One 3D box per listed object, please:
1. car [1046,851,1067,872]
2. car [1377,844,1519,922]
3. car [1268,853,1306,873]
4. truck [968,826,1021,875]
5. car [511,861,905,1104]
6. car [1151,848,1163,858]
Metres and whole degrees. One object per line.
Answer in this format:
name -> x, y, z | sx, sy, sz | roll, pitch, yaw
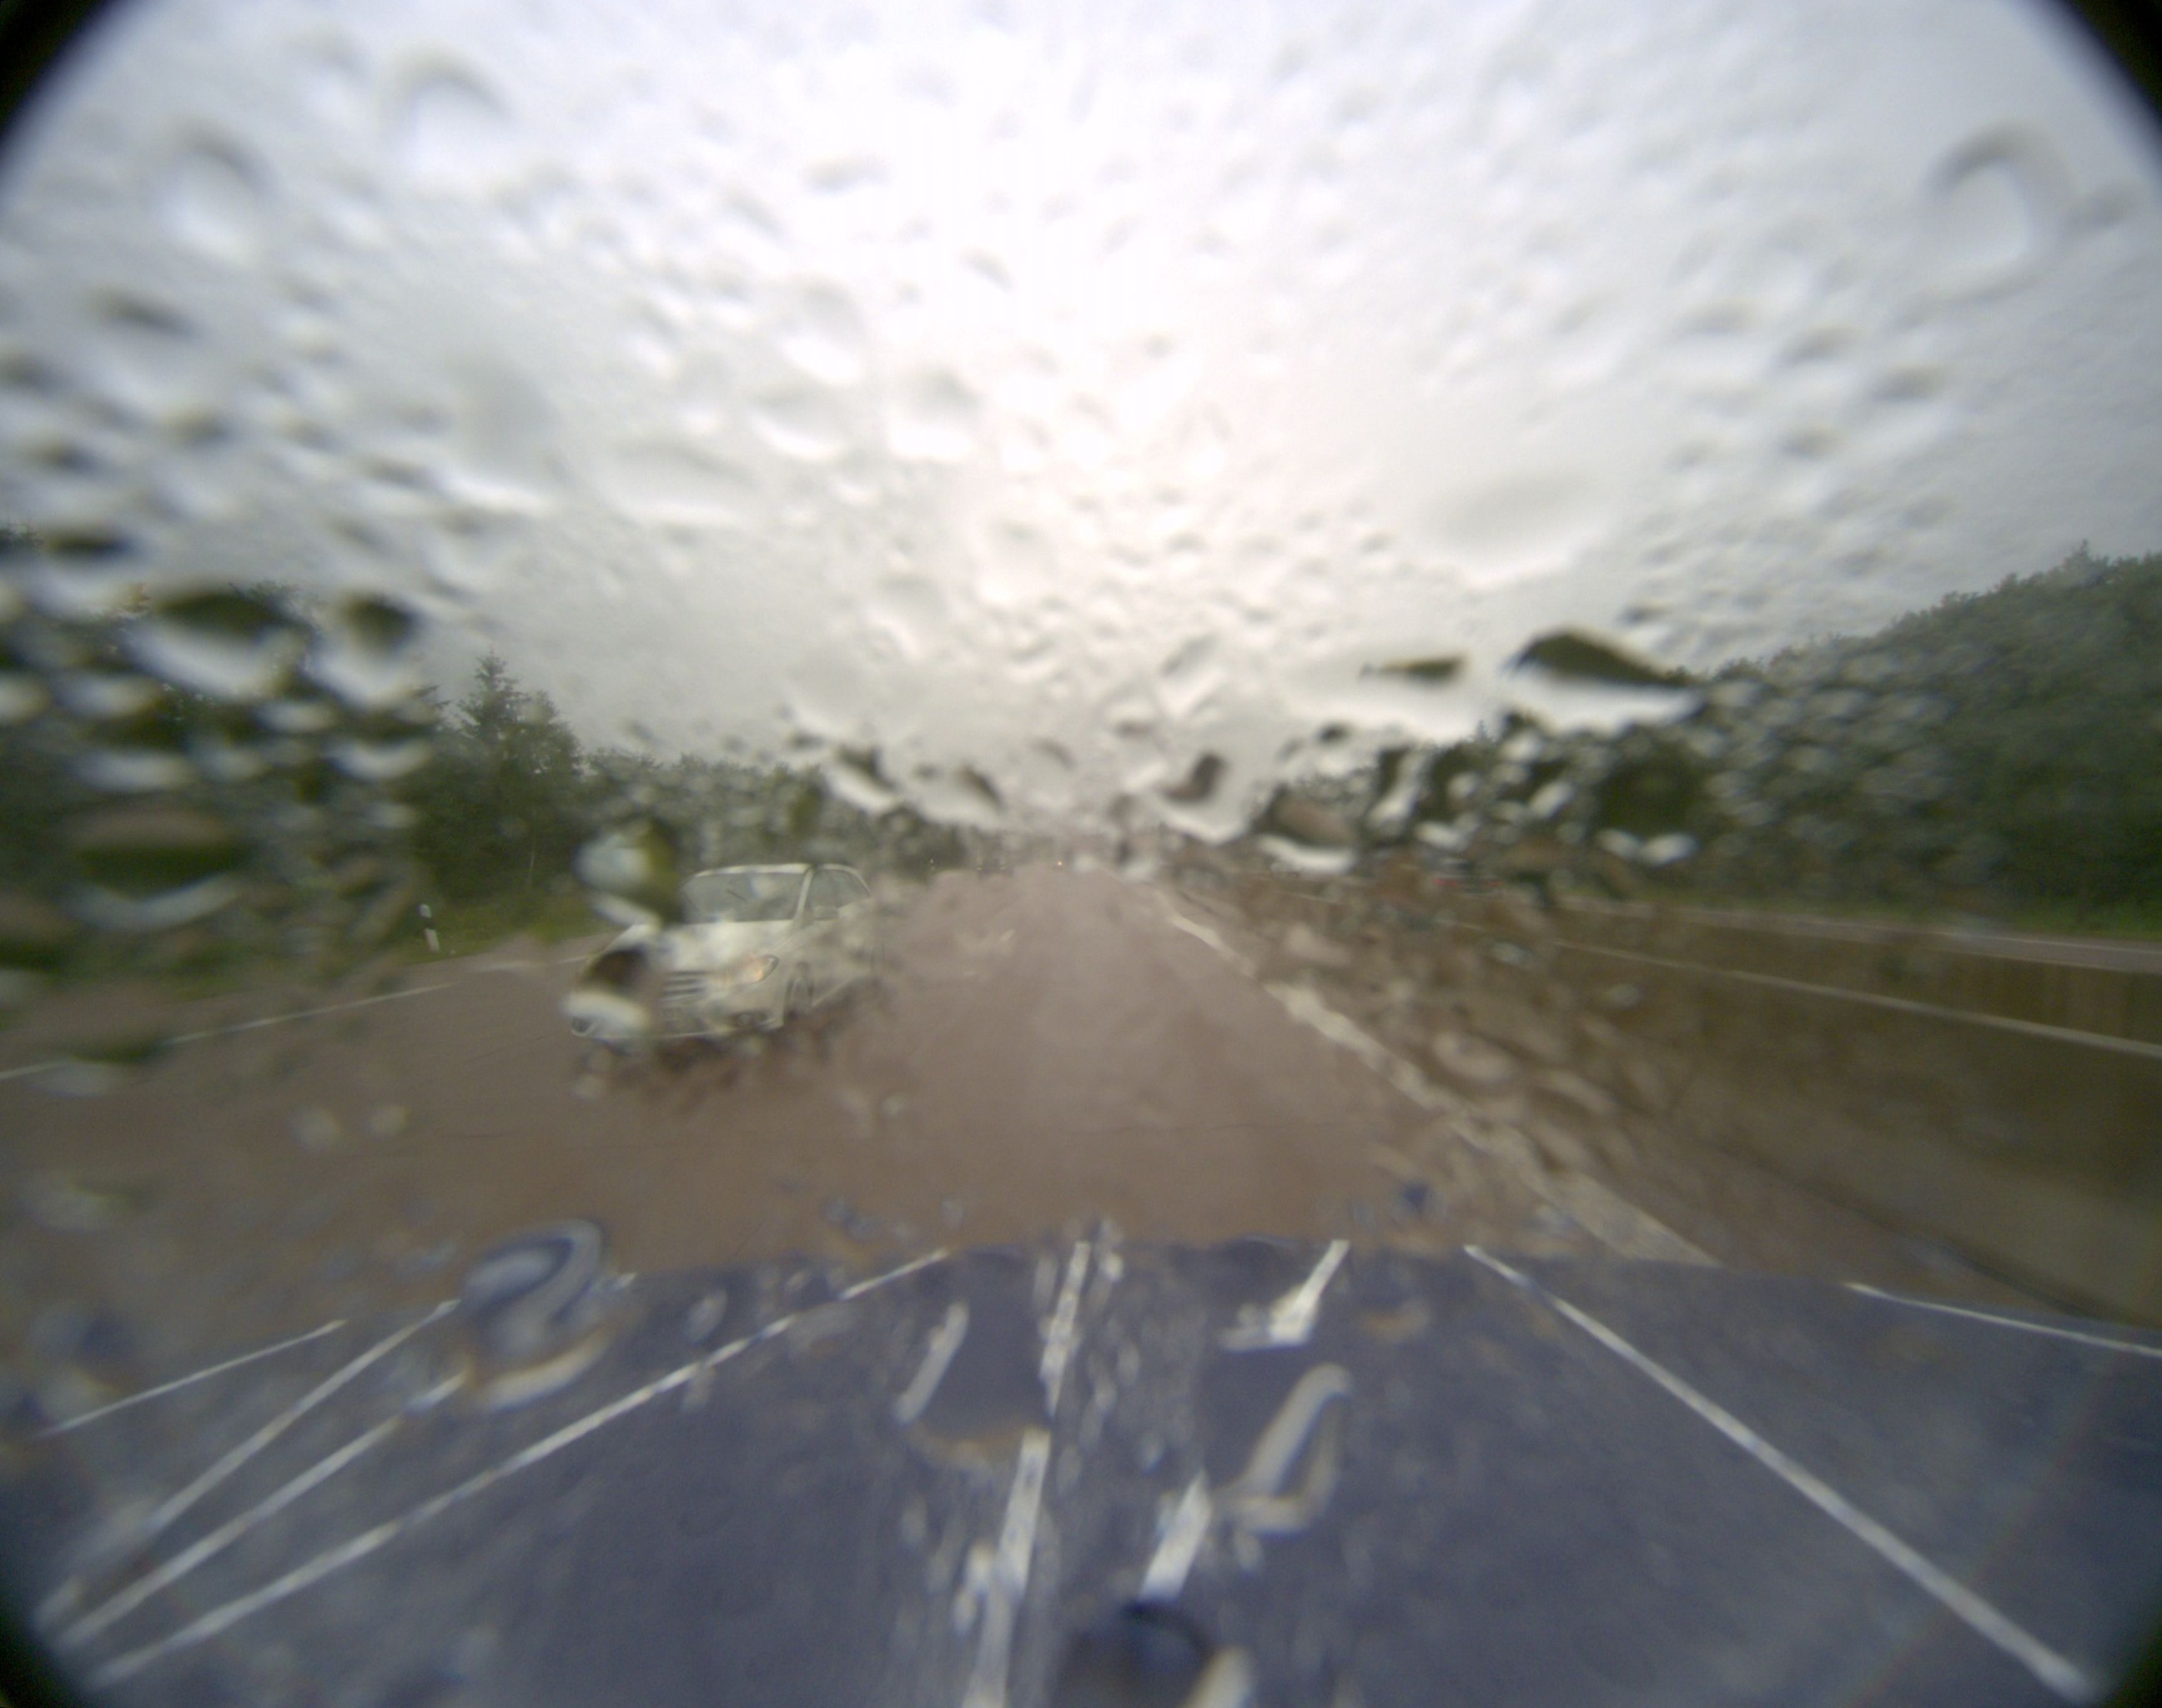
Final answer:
car -> -2.612, 0.772, 81.355 | 1.999, 2.002, 4.276 | -3, 0, -1
car -> 9.162, 0.647, 19.341 | 1.793, 1.786, 3.877 | 0, 1, 1
car -> 16.268, 0.686, 60.235 | 1.758, 1.471, 4.583 | 0, 0, 0
truck -> -7.086, -0.263, 63.553 | 3.242, 3.708, 7.954 | -2, 0, 1
car -> -3.385, 1.001, 8.160 | 1.813, 1.718, 4.743 | -3, 0, 0
car -> 13.721, -0.164, 137.090 | 1.813, 1.622, 4.505 | 1, 0, 0
